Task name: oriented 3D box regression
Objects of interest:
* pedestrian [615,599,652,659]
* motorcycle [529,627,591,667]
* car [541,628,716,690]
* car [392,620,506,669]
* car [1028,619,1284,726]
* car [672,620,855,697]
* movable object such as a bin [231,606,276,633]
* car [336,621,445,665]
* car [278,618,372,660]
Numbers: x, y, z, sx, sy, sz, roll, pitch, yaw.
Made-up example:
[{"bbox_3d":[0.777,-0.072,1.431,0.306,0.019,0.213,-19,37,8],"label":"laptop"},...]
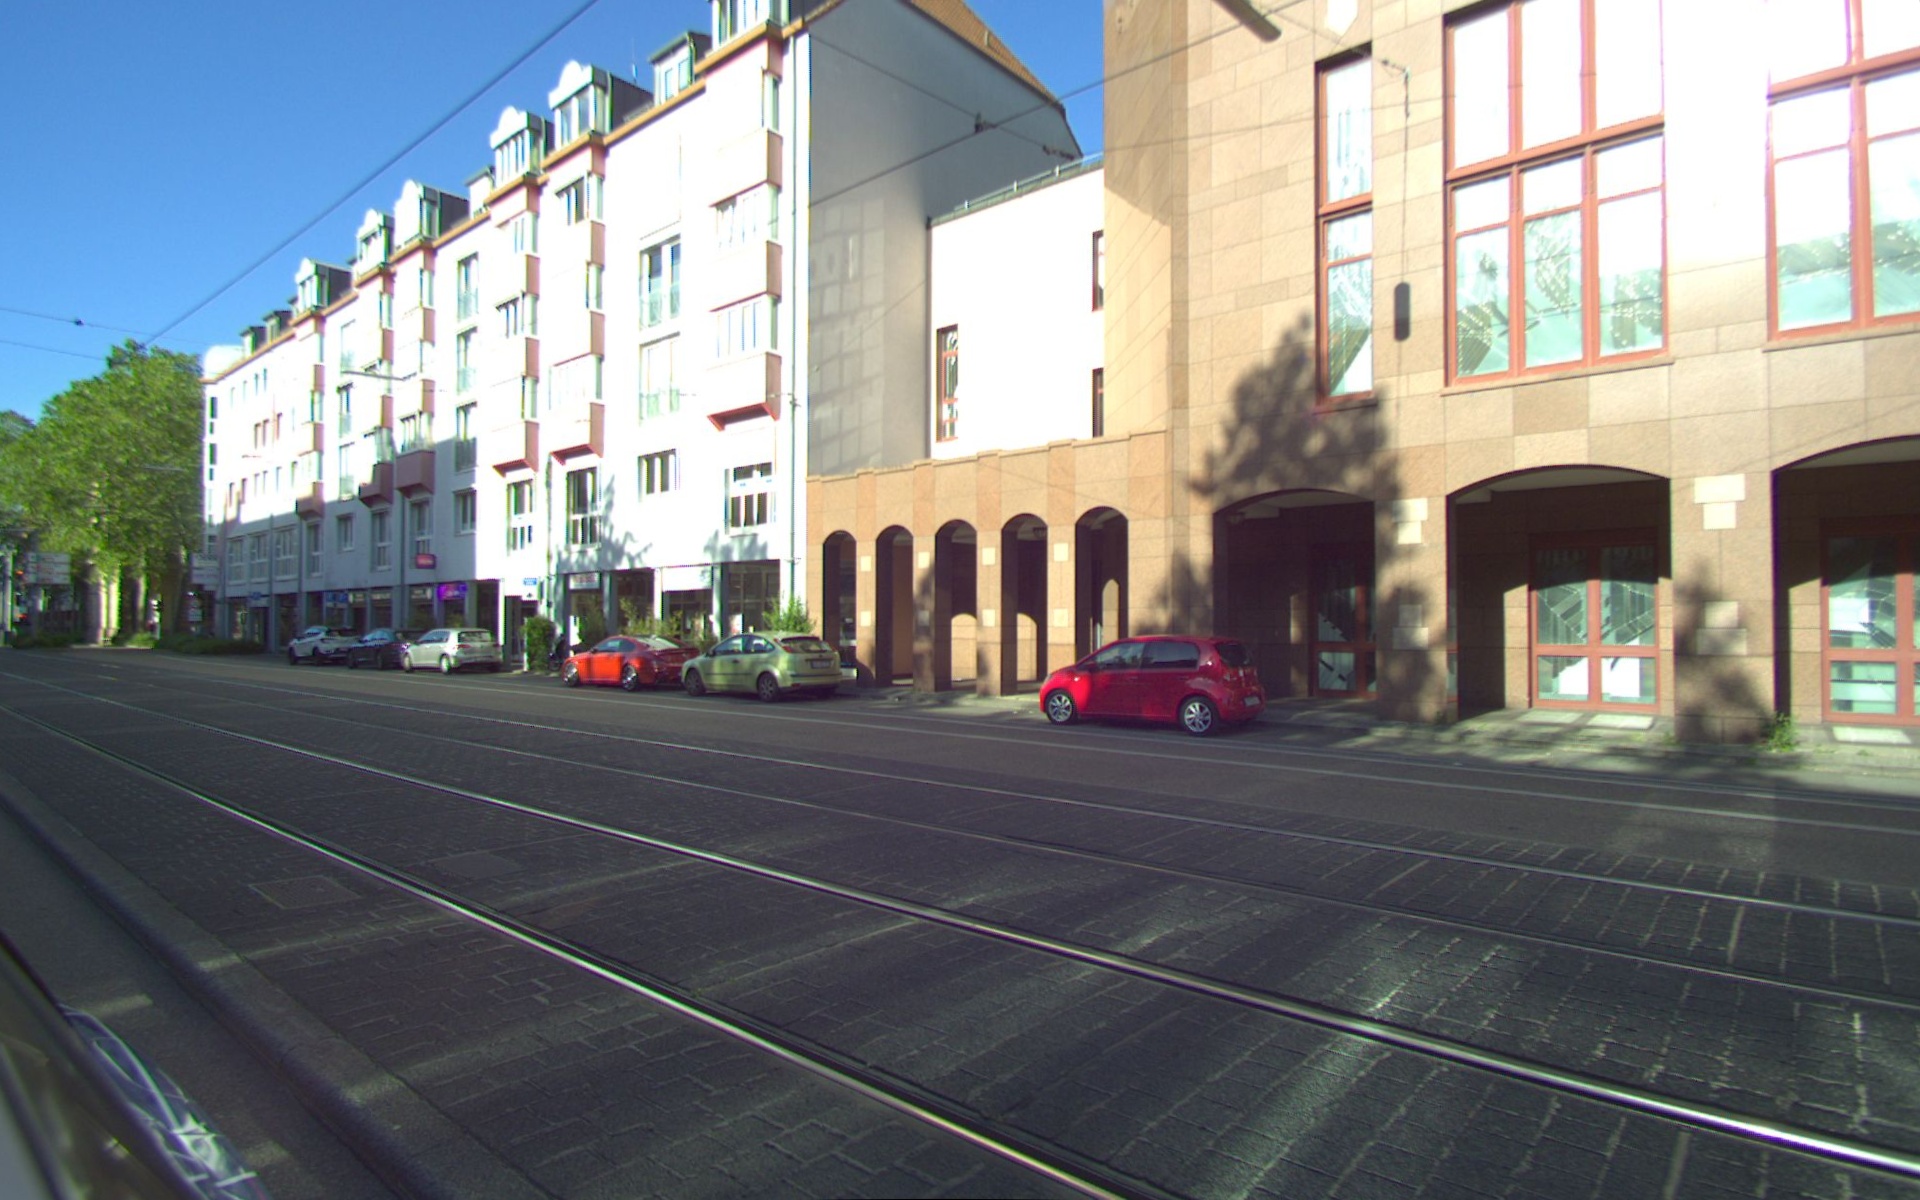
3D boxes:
[{"bbox_3d":[-10.419,0.925,32.274,0.715,1.857,0.813,-2,0,32],"label":"pedestrian"},{"bbox_3d":[-12.478,1.473,31.530,2.068,1.203,0.458,-1,0,23],"label":"motorcycle"},{"bbox_3d":[-8.405,1.404,25.447,4.817,1.335,1.940,-1,0,40],"label":"car"},{"bbox_3d":[-16.800,1.408,33.180,4.202,1.486,1.734,-1,-1,38],"label":"car"},{"bbox_3d":[3.009,1.046,15.906,3.618,1.432,1.642,-1,0,41],"label":"car"},{"bbox_3d":[-4.380,1.211,22.240,4.288,1.479,1.652,-1,0,41],"label":"car"},{"bbox_3d":[-53.260,1.474,76.377,2.604,2.029,1.179,0,-2,-26],"label":"movable object such as a bin"},{"bbox_3d":[-20.605,1.494,36.556,4.822,1.469,1.882,-1,-1,40],"label":"car"},{"bbox_3d":[-25.935,1.565,41.293,4.364,1.626,1.899,-1,-1,38],"label":"car"}]
